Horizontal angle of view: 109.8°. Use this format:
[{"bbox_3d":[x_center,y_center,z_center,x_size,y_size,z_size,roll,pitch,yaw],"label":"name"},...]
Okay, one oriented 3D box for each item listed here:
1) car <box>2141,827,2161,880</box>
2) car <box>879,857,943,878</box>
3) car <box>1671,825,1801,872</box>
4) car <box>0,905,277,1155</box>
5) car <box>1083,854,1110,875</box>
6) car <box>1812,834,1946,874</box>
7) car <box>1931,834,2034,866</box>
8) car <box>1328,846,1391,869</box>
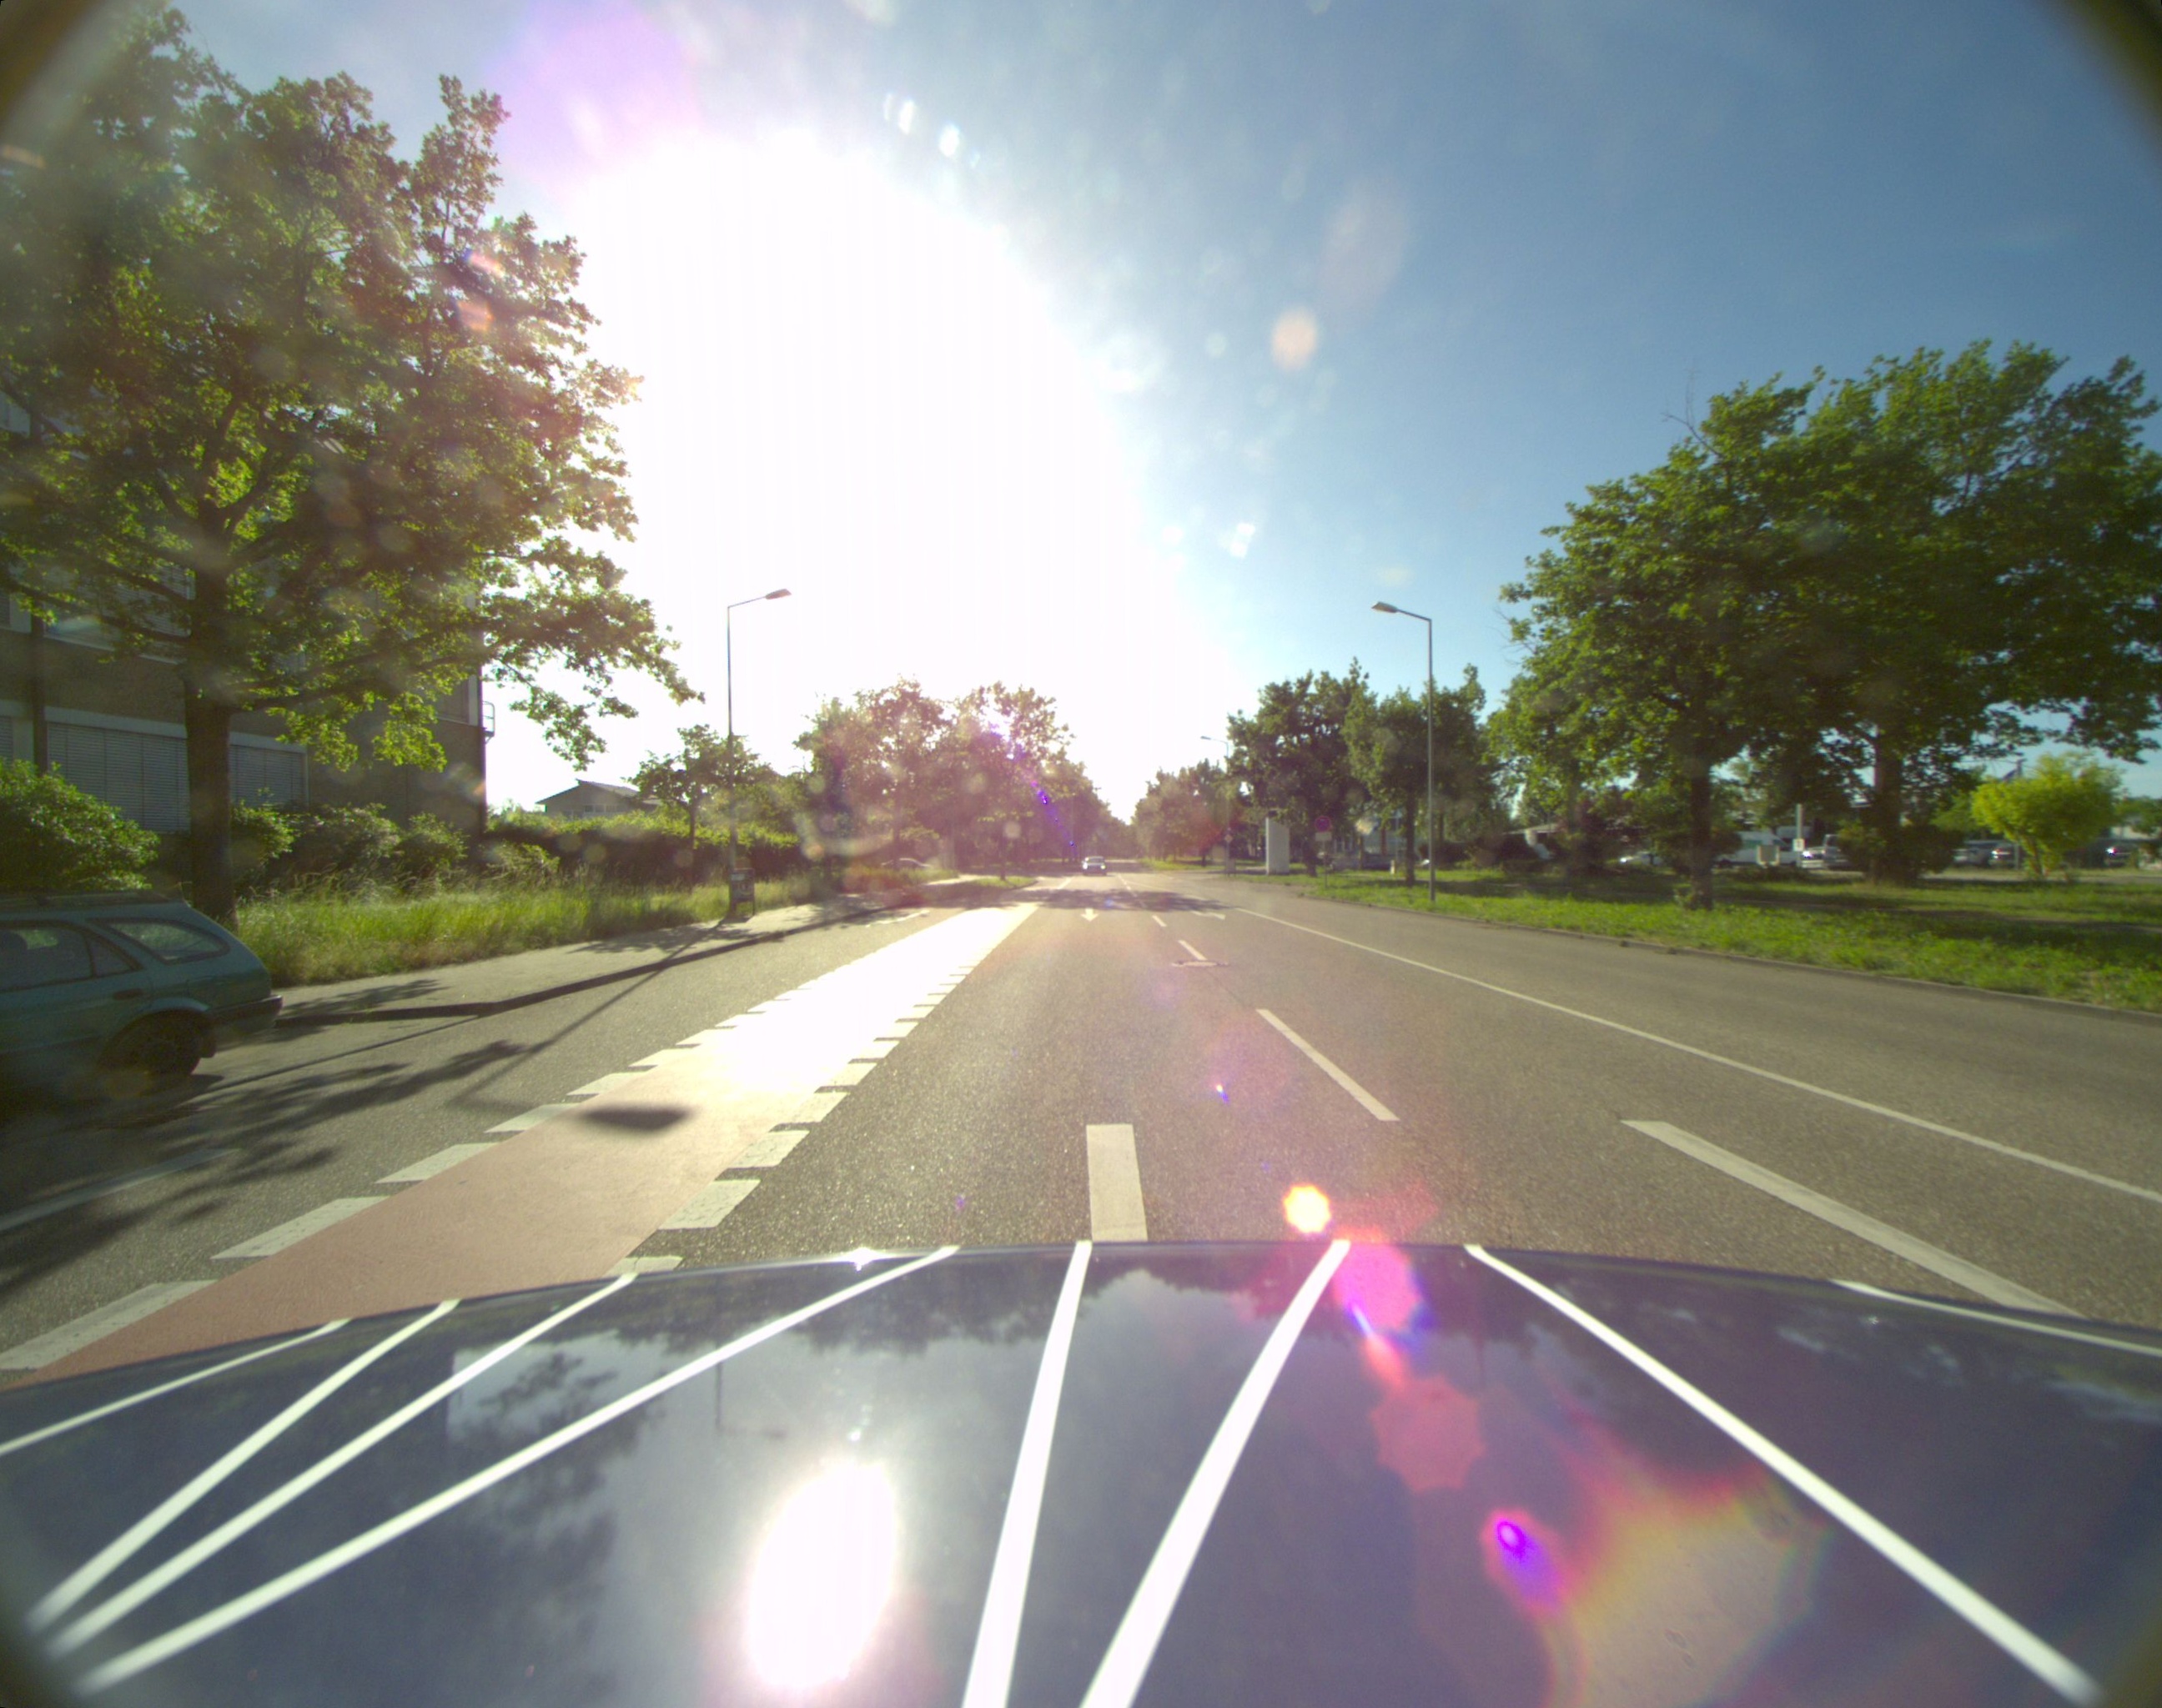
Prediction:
[{"bbox_3d":[33.887,-0.090,22.035,3.817,1.562,1.736,-2,-1,0],"label":"car"},{"bbox_3d":[-13.265,1.037,59.445,4.481,1.510,1.898,0,1,12],"label":"car"},{"bbox_3d":[39.898,-0.344,46.393,6.023,2.540,2.409,-2,1,-4],"label":"car"},{"bbox_3d":[-7.526,1.129,4.214,1.706,1.460,4.141,-1,-1,0],"label":"car"},{"bbox_3d":[1.204,0.771,57.520,1.652,1.460,3.943,-2,0,7],"label":"car"},{"bbox_3d":[40.059,-0.010,38.216,4.642,1.771,1.990,-2,1,0],"label":"car"},{"bbox_3d":[52.087,-0.213,43.955,3.860,1.661,1.762,-2,1,0],"label":"car"},{"bbox_3d":[23.927,0.290,65.365,4.637,1.822,2.000,-2,1,0],"label":"car"}]
